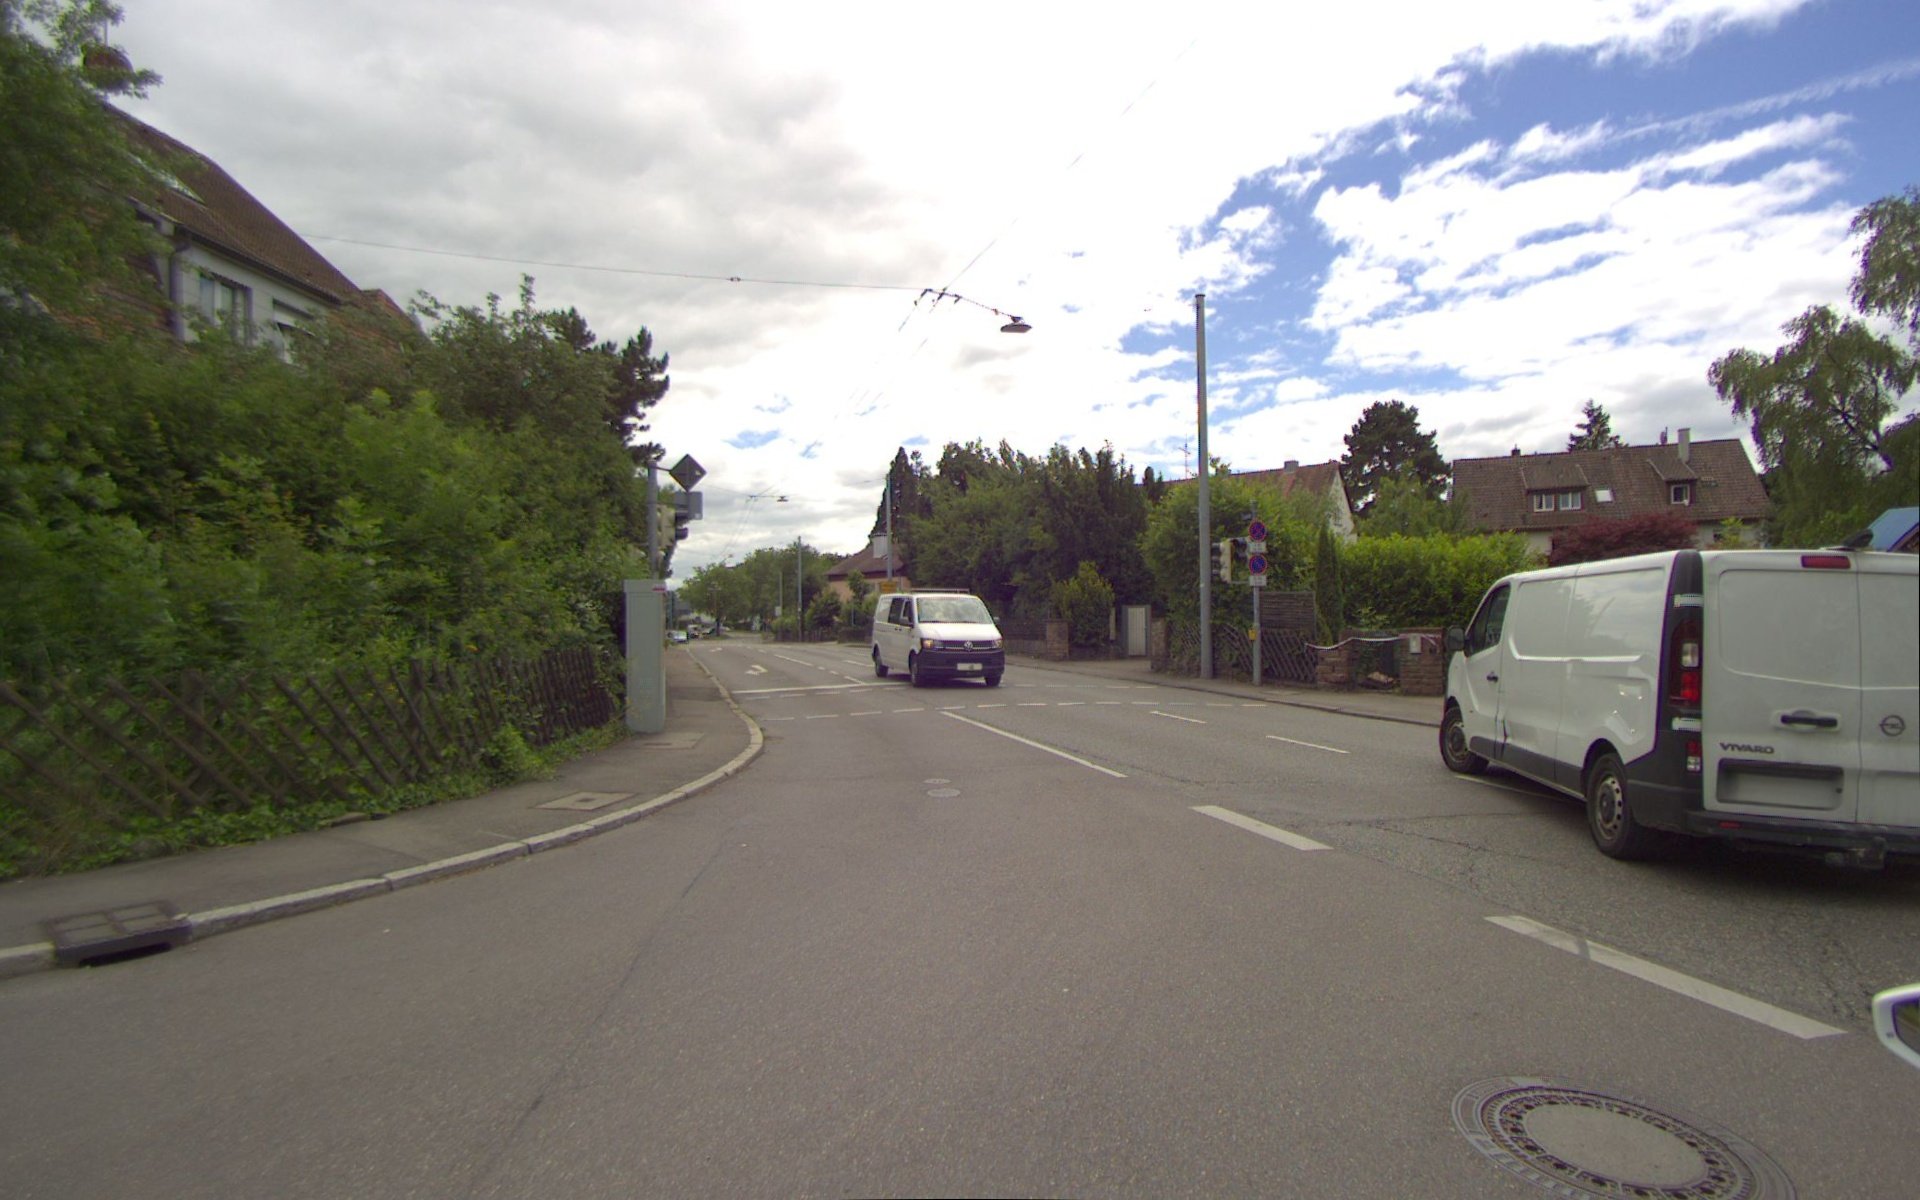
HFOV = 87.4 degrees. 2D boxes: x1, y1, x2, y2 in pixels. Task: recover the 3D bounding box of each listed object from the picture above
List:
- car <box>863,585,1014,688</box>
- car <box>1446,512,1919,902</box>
[{"bbox_3d":[-0.638,0.730,22.337,1.968,2.005,5.179,0,0,-18],"label":"car"},{"bbox_3d":[5.348,0.578,7.673,1.884,2.080,4.616,0,0,12],"label":"car"}]
